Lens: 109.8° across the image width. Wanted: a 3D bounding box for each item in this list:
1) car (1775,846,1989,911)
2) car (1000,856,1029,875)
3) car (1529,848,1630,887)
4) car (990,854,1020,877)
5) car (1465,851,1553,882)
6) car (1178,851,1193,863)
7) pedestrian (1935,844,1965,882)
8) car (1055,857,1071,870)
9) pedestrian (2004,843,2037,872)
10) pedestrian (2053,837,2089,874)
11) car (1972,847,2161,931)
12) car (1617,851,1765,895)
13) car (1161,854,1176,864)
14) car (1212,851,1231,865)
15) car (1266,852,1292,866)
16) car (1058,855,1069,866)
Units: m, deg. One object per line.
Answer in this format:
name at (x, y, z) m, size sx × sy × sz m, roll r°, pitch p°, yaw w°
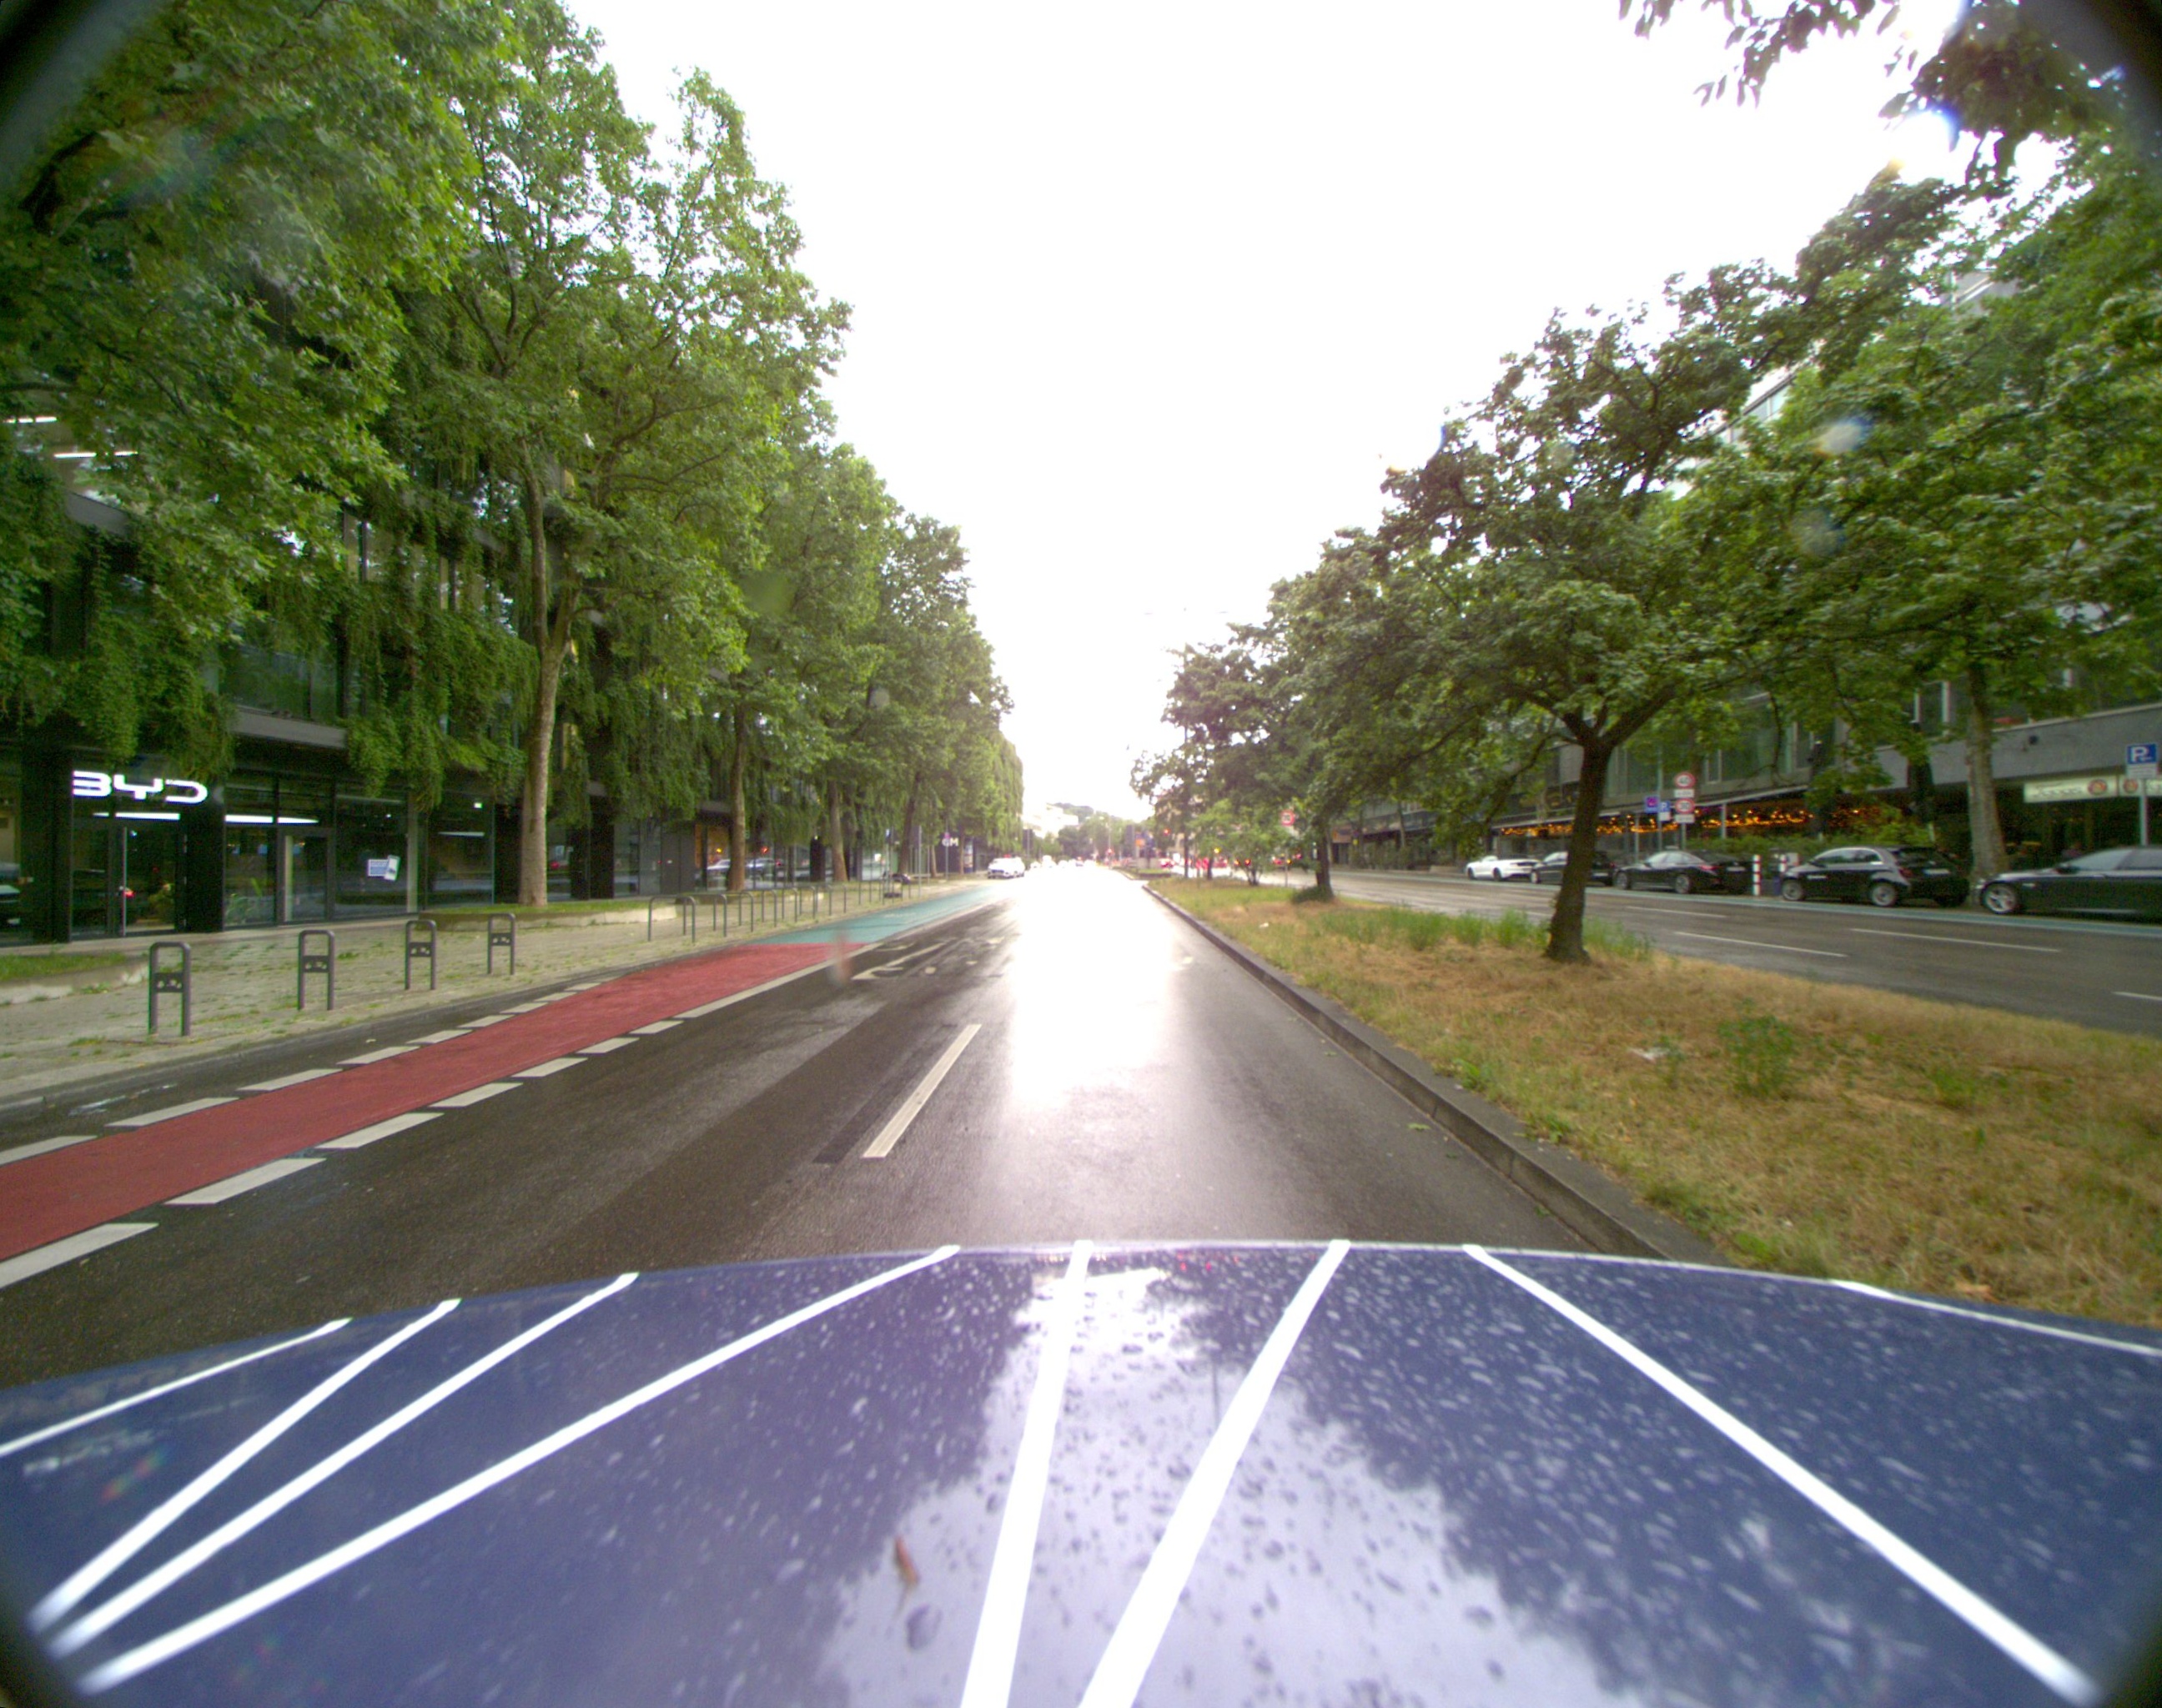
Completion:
car at (20.064, 0.544, 19.259) m, size 1.875 × 1.414 × 3.400 m, roll -2°, pitch 1°, yaw 2°
car at (-6.087, 1.031, 70.395) m, size 2.036 × 1.553 × 4.585 m, roll -2°, pitch 1°, yaw 2°
car at (20.518, 0.505, 31.478) m, size 1.750 × 1.445 × 3.788 m, roll -2°, pitch 1°, yaw 2°
car at (-6.411, 0.965, 64.320) m, size 1.932 × 1.726 × 4.598 m, roll -2°, pitch 1°, yaw 0°
car at (20.746, 0.560, 37.045) m, size 1.881 × 1.318 × 4.392 m, roll -2°, pitch 1°, yaw 2°
car at (17.939, 0.473, 130.793) m, size 1.998 × 1.805 × 3.999 m, roll -2°, pitch 1°, yaw 0°
pedestrian at (27.736, 0.272, 24.261) m, size 0.445 × 1.179 × 0.466 m, roll -3°, pitch 1°, yaw -14°
car at (-2.197, 1.184, 95.473) m, size 1.780 × 1.546 × 3.929 m, roll -2°, pitch 1°, yaw 1°
pedestrian at (27.936, 0.094, 22.586) m, size 0.440 × 0.845 × 0.433 m, roll -2°, pitch 1°, yaw -1°
pedestrian at (27.746, 0.035, 21.302) m, size 0.464 × 1.010 × 0.424 m, roll -2°, pitch 1°, yaw -1°
car at (19.877, 0.605, 13.975) m, size 1.875 × 1.377 × 4.537 m, roll -2°, pitch 1°, yaw 5°
car at (20.190, 0.588, 25.420) m, size 1.647 × 1.232 × 4.319 m, roll -2°, pitch 1°, yaw 3°
car at (12.657, 0.742, 110.058) m, size 1.678 × 1.381 × 3.527 m, roll -2°, pitch 1°, yaw -2°
car at (19.583, 0.591, 105.829) m, size 1.938 × 1.776 × 3.955 m, roll -2°, pitch 1°, yaw 2°
car at (19.940, 0.487, 76.672) m, size 1.765 × 1.318 × 3.738 m, roll -2°, pitch 1°, yaw 2°
car at (-2.705, 1.006, 120.313) m, size 1.556 × 1.534 × 3.663 m, roll -2°, pitch 1°, yaw 1°
